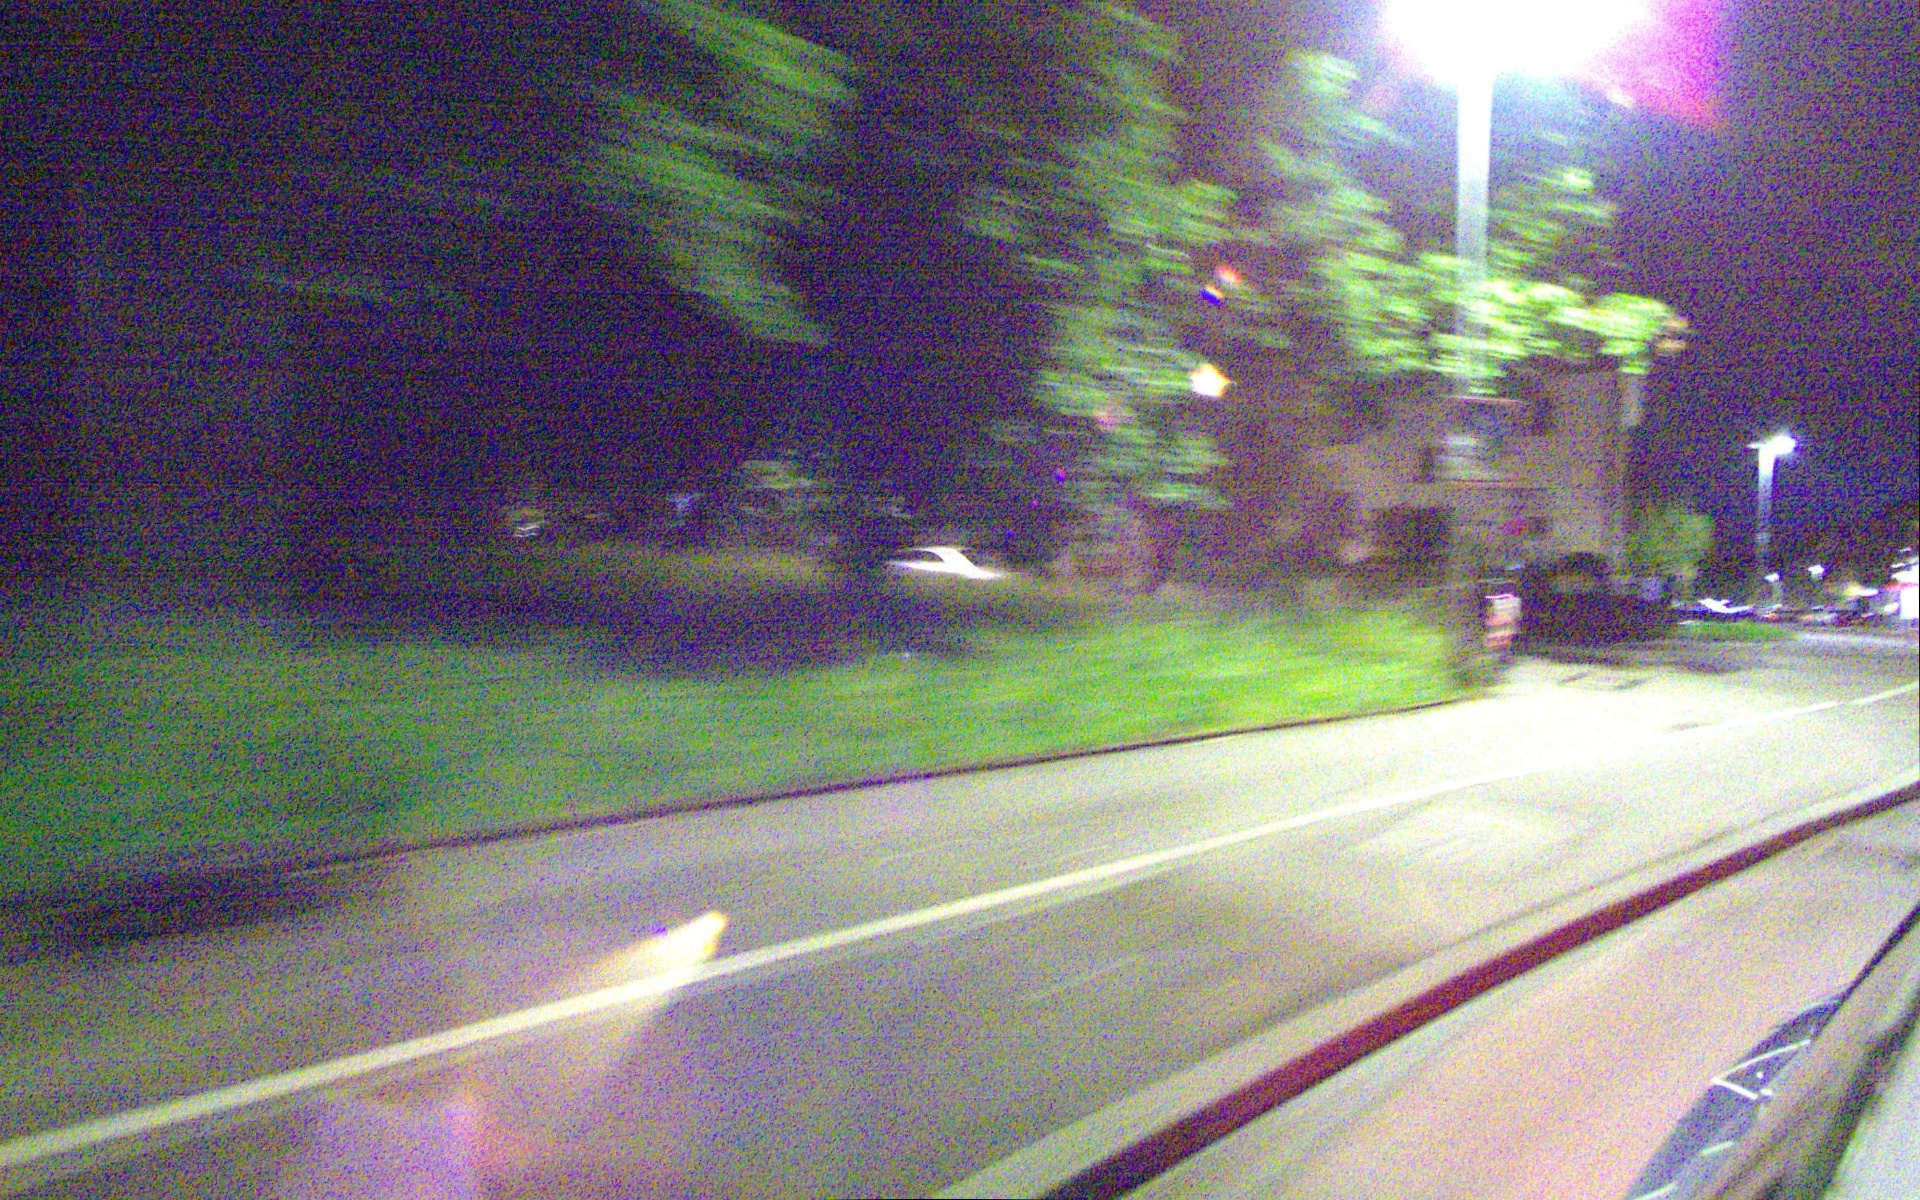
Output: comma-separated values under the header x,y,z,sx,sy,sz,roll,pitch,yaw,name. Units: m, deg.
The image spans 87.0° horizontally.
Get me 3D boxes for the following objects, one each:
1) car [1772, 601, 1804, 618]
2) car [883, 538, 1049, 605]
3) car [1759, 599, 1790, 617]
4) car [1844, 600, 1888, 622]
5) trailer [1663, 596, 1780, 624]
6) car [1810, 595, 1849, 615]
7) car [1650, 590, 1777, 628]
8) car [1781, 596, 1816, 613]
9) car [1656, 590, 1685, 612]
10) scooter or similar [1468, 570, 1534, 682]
x,y,z,sx,sy,sz,roll,pitch,yaw,name
89.082,1.045,108.946,2.107,1.691,4.122,2,0,32,car
0.116,-0.772,26.016,3.880,1.470,1.921,5,4,37,car
92.469,0.898,114.981,2.106,1.971,4.832,0,-1,32,car
66.440,0.808,74.296,1.742,1.487,3.962,2,1,32,car
28.689,0.395,38.268,3.419,1.015,1.930,-1,-1,34,trailer
74.912,0.451,87.247,1.921,1.657,4.418,1,0,32,car
25.970,0.284,35.007,3.377,1.247,1.704,1,0,33,car
86.495,0.440,104.493,2.106,1.567,4.427,-2,0,31,car
56.418,0.091,80.367,1.633,1.579,3.635,3,1,33,car
6.779,0.291,12.650,0.609,1.297,1.671,2,1,32,scooter or similar
